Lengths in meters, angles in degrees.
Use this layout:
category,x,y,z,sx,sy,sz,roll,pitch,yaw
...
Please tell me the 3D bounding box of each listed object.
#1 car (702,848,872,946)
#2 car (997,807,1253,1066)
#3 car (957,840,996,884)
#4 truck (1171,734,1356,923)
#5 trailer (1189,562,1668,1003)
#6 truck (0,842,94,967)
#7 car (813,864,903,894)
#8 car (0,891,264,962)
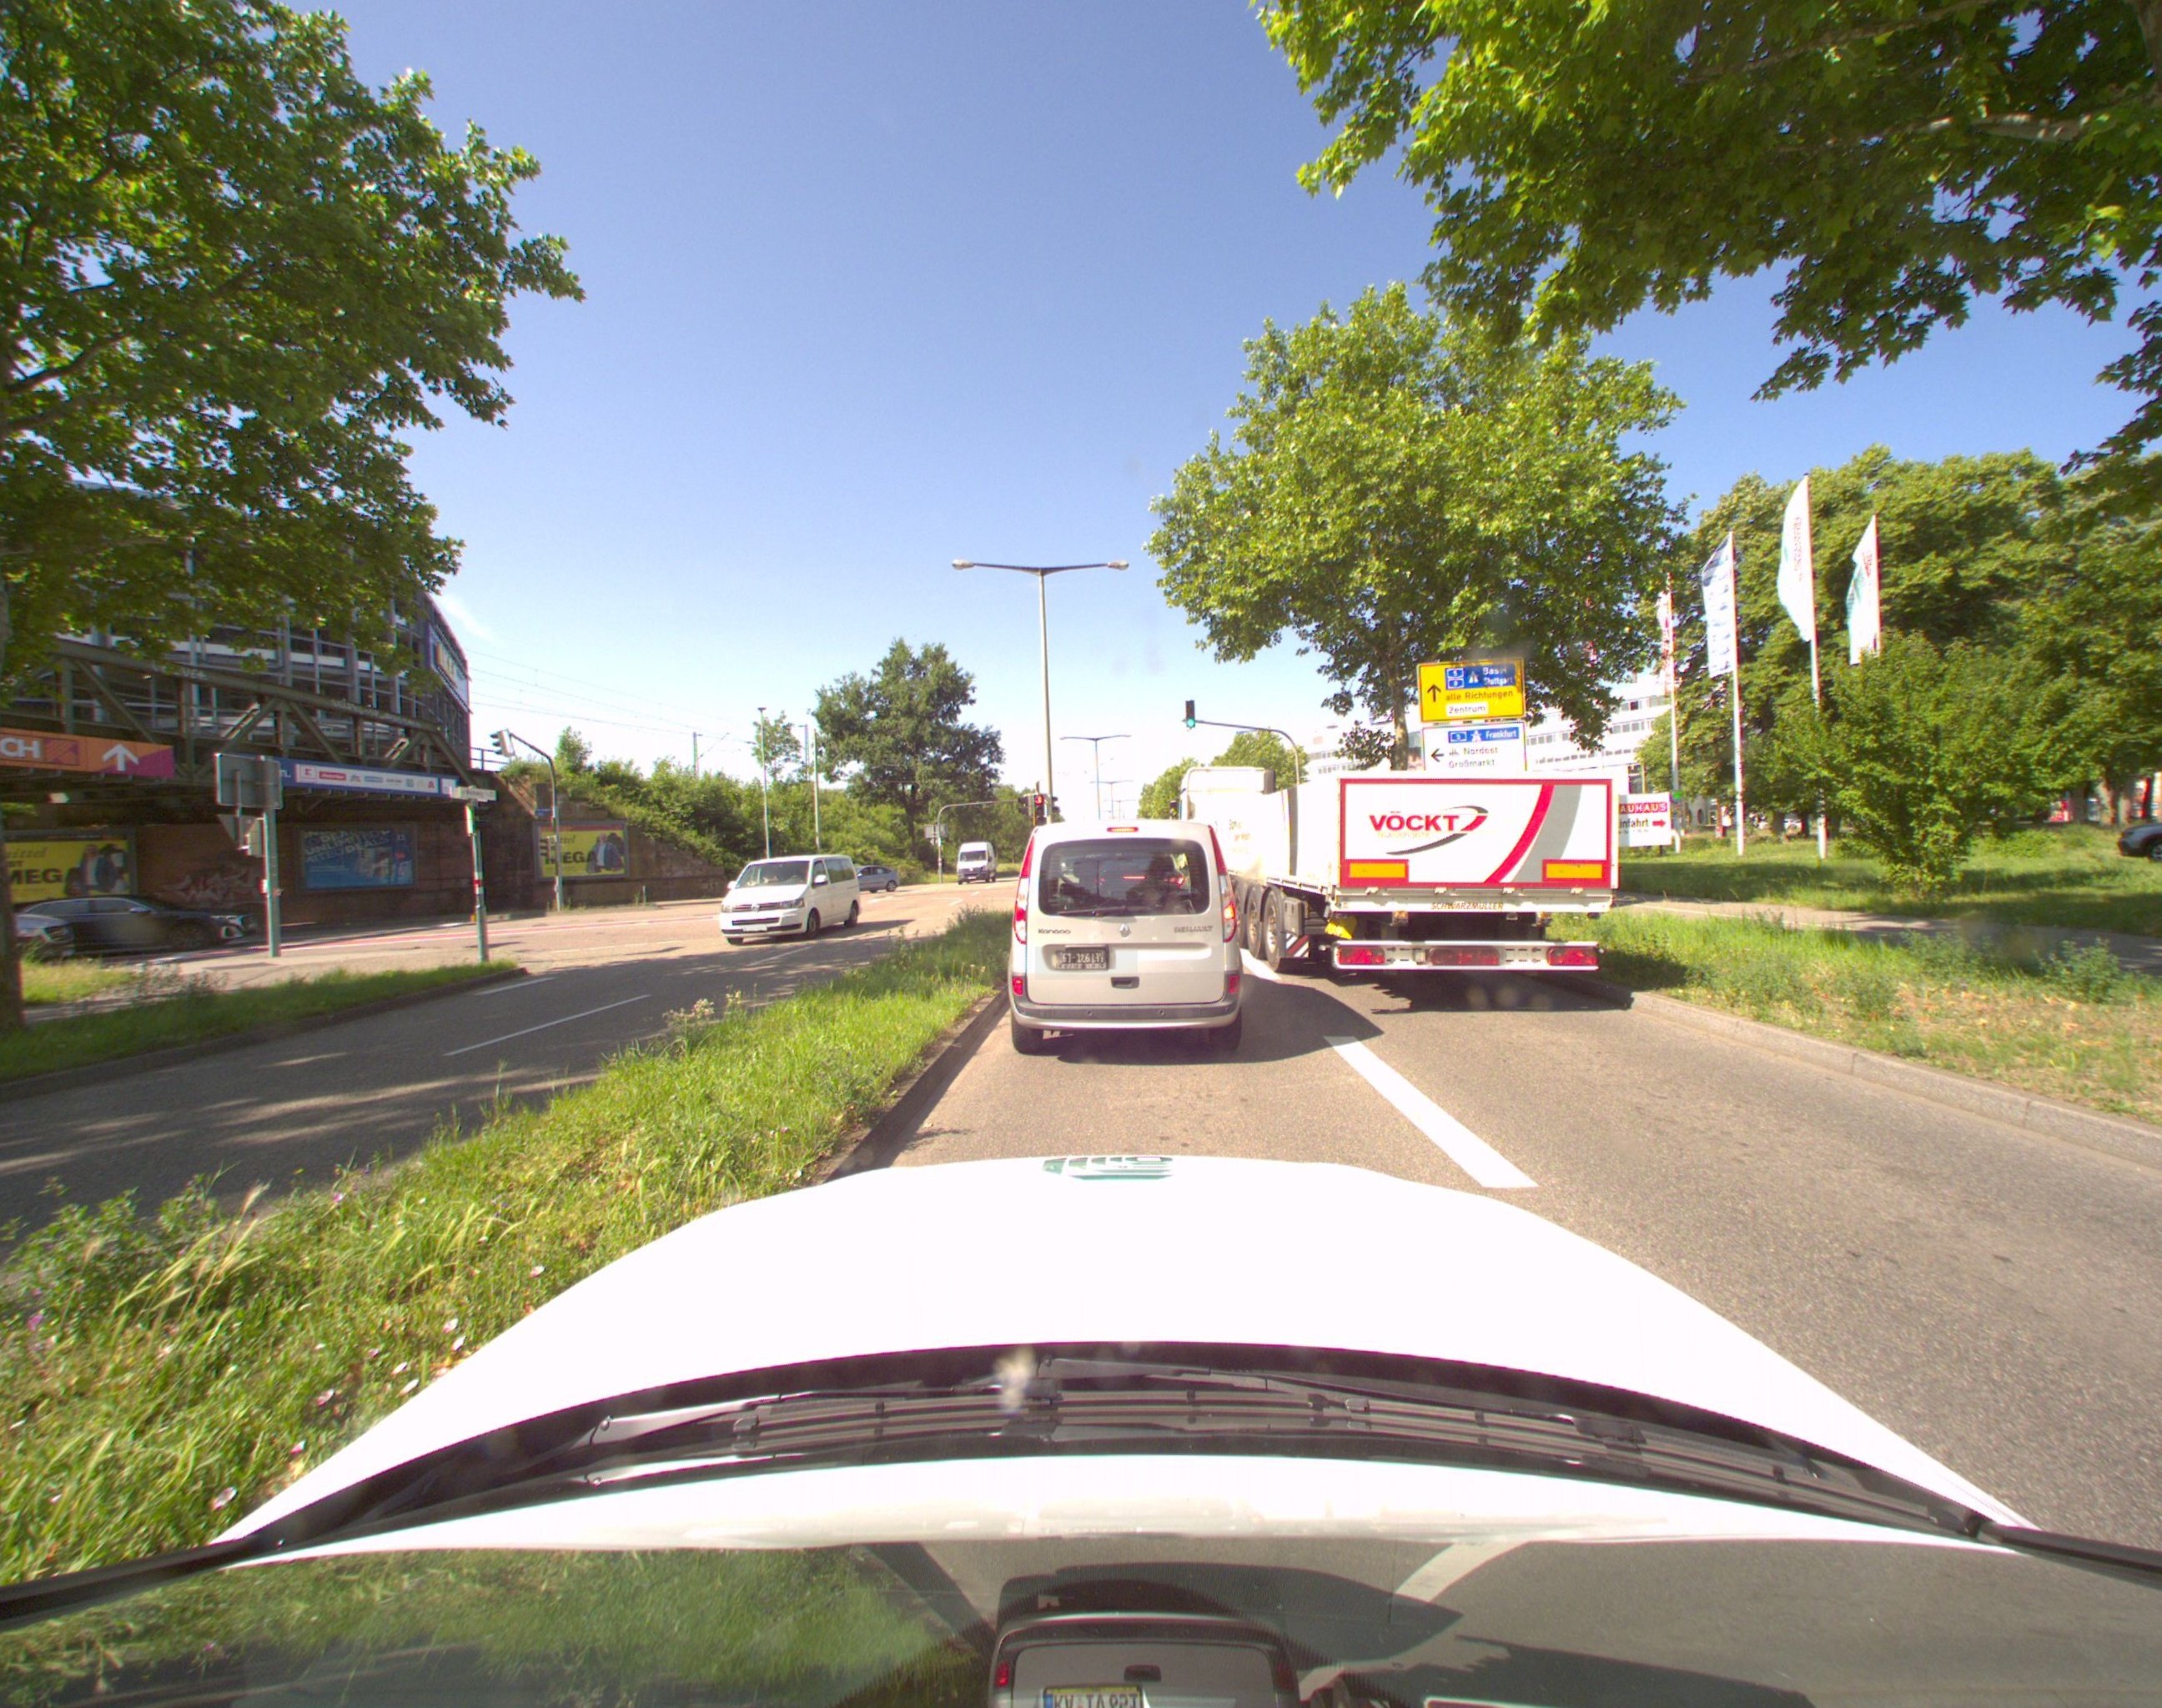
category,x,y,z,sx,sy,sz,roll,pitch,yaw
car,-6.743,0.914,19.401,1.986,1.891,4.989,-4,0,2
car,0.384,0.586,7.643,1.742,1.772,3.951,-1,0,2
car,-6.717,0.504,52.735,2.054,2.614,5.862,-1,0,-3
truck,4.089,-0.504,20.183,3.060,3.758,7.479,-1,0,2
trailer,3.797,-0.584,13.157,3.004,3.740,12.249,-1,0,3
truck,-26.241,1.161,17.270,6.431,2.712,1.979,-1,-1,-34
car,-11.620,1.268,42.649,1.892,1.409,4.254,-2,0,39
car,-26.054,1.916,22.246,5.074,1.596,1.510,-1,-1,-35
